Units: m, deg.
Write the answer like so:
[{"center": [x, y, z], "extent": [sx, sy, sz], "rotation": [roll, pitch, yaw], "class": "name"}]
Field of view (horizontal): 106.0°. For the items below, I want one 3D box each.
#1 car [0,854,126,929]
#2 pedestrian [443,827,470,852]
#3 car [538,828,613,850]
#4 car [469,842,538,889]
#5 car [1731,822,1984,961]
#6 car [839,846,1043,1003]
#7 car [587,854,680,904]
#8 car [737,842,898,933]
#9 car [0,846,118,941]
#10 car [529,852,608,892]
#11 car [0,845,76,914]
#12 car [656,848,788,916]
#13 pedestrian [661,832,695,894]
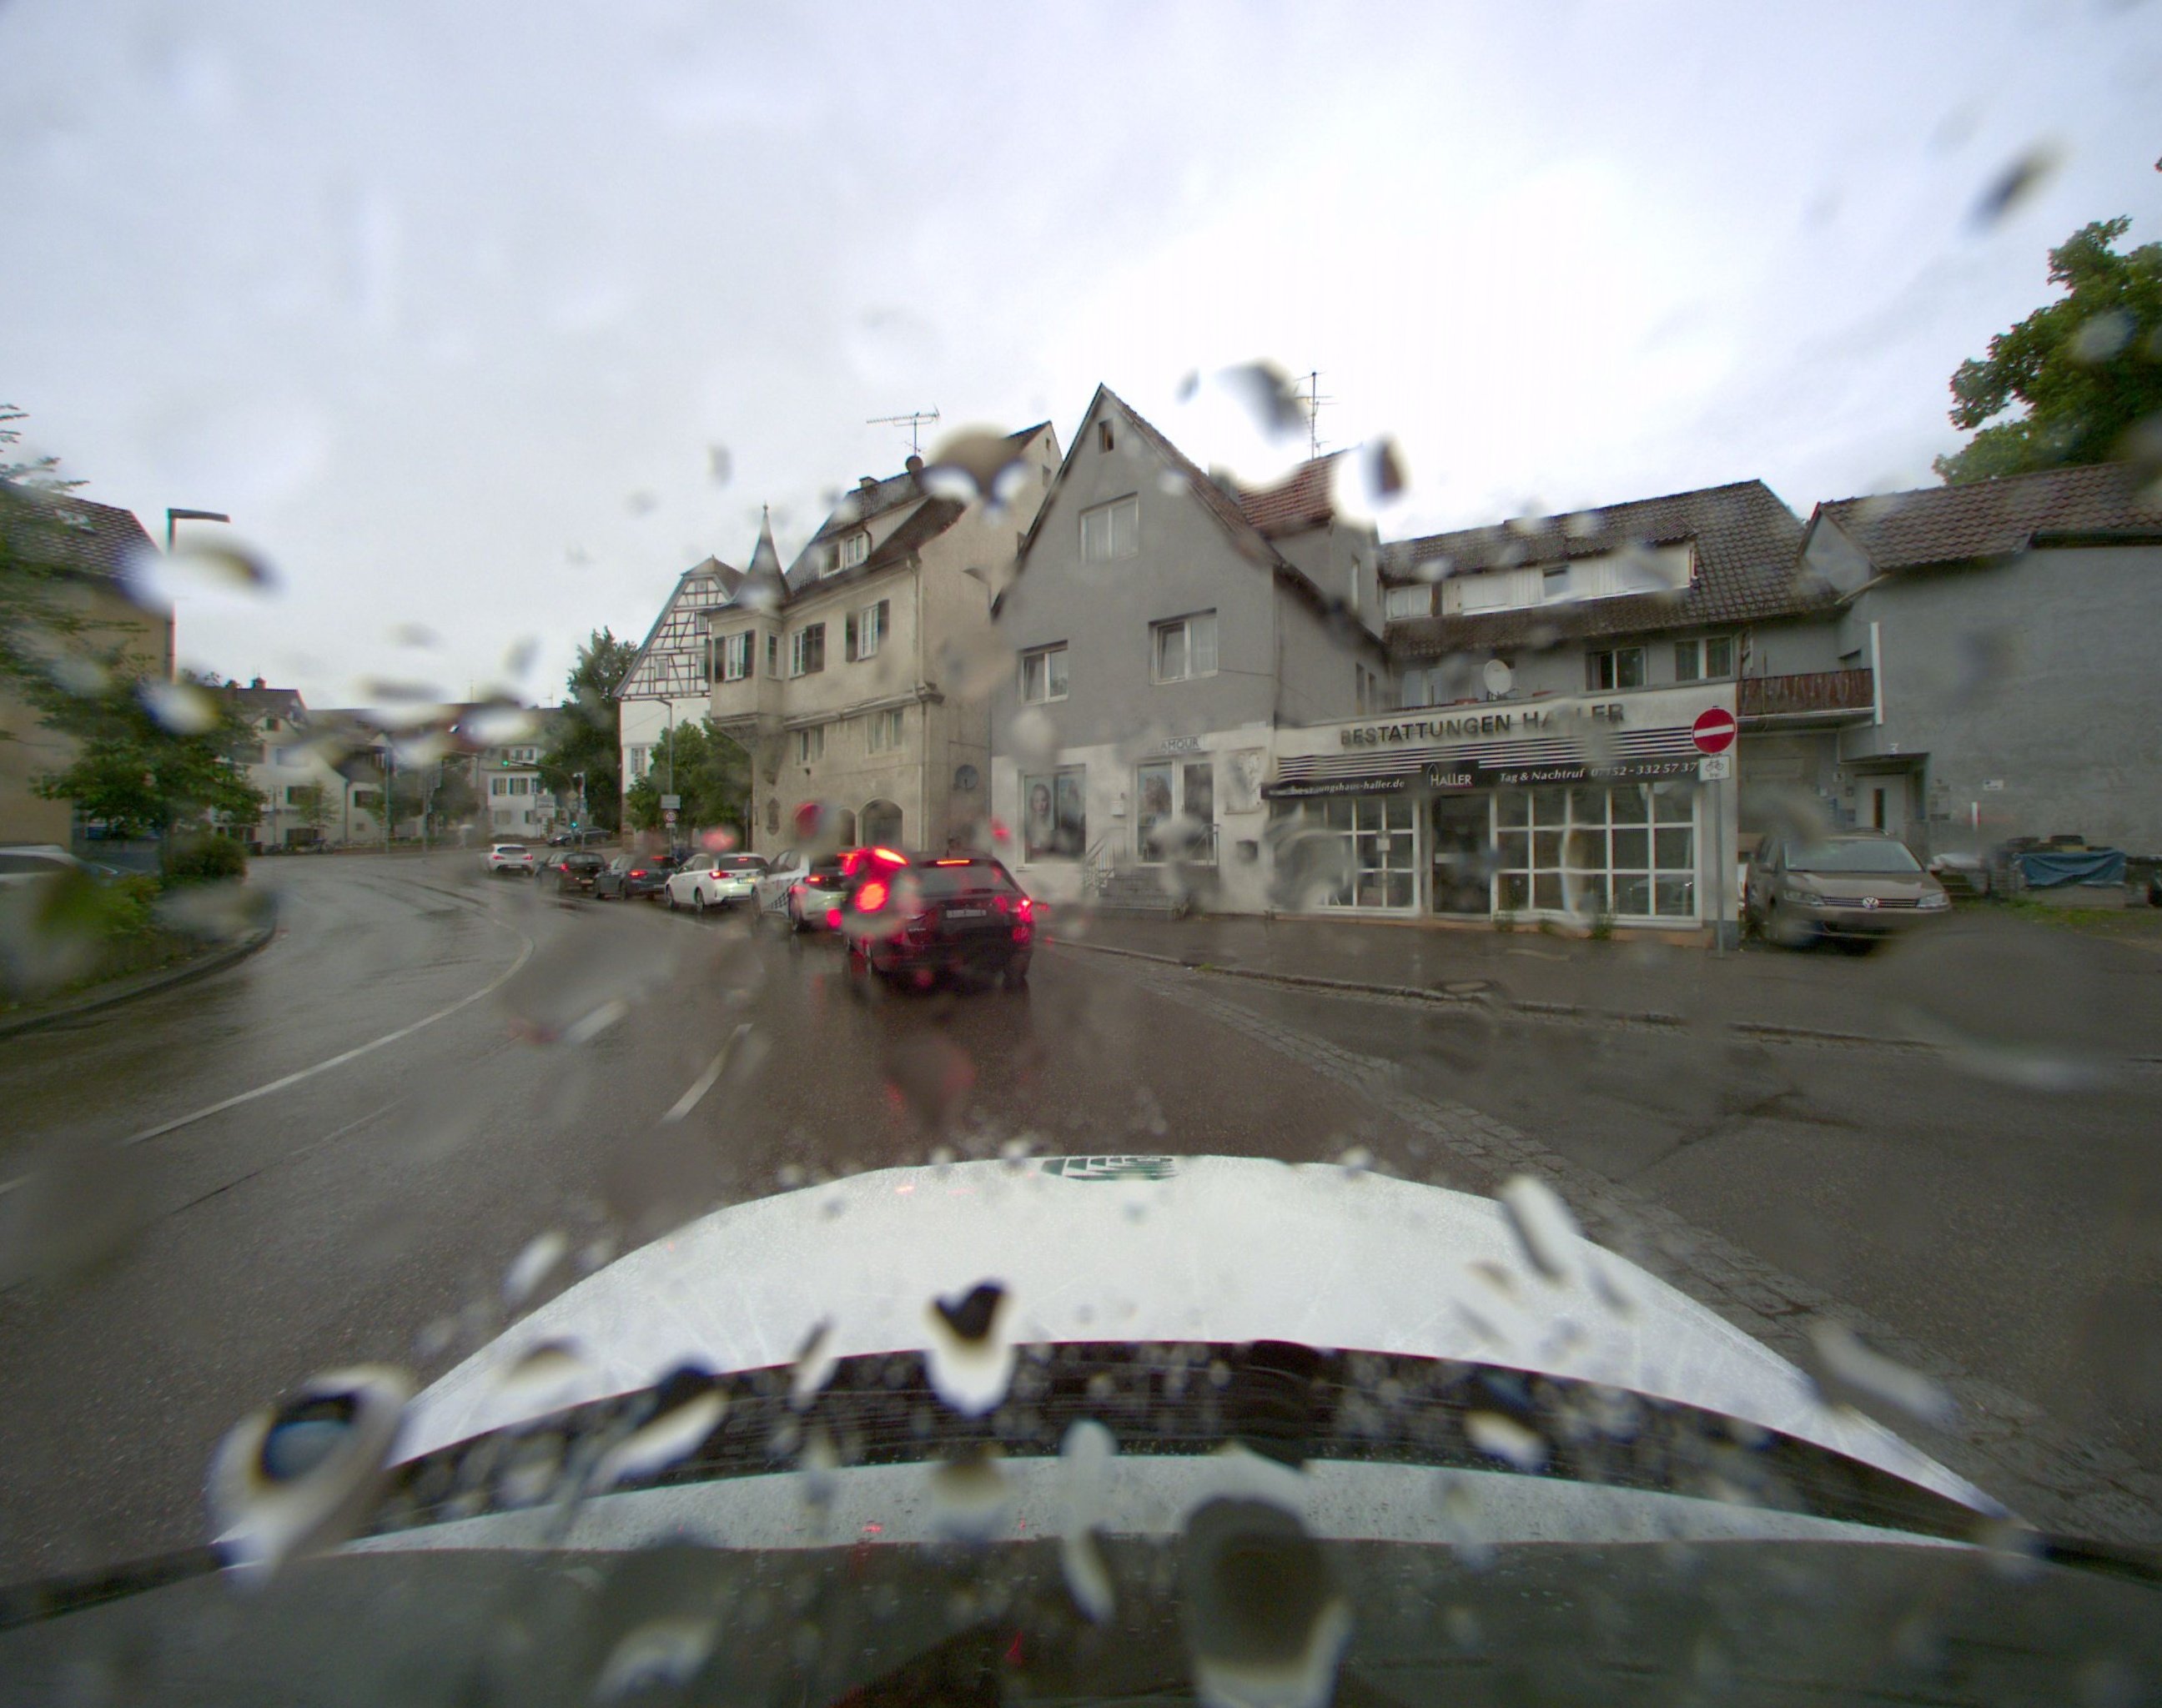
[{"center": [-22.409, 0.770, 16.522], "extent": [1.692, 1.455, 3.558], "rotation": [0, 1, 24], "class": "car"}, {"center": [-44.025, -1.014, 57.396], "extent": [0.992, 1.742, 1.156], "rotation": [-1, 0, 26], "class": "pedestrian"}, {"center": [-37.624, -1.089, 60.719], "extent": [1.632, 1.389, 4.555], "rotation": [7, 3, 23], "class": "car"}, {"center": [-28.047, 0.500, 39.516], "extent": [3.911, 2.090, 1.992], "rotation": [1, 2, 44], "class": "car"}, {"center": [11.709, 0.402, 12.690], "extent": [1.905, 1.727, 4.698], "rotation": [-1, 2, 32], "class": "car"}, {"center": [-1.958, 0.659, 10.169], "extent": [1.738, 1.450, 4.212], "rotation": [-2, 2, -21], "class": "car"}, {"center": [-14.151, 0.737, 25.674], "extent": [3.721, 1.361, 1.533], "rotation": [1, 2, 44], "class": "car"}, {"center": [-5.353, 0.577, 16.169], "extent": [1.803, 1.517, 4.194], "rotation": [-2, 1, -36], "class": "car"}, {"center": [-20.144, 0.719, 14.457], "extent": [1.692, 1.685, 3.558], "rotation": [0, 1, 24], "class": "car"}, {"center": [-19.080, 0.629, 30.281], "extent": [3.579, 1.312, 1.678], "rotation": [1, 2, 44], "class": "car"}, {"center": [-26.215, 0.613, 18.726], "extent": [1.692, 1.576, 3.558], "rotation": [0, 1, 24], "class": "car"}, {"center": [-9.136, 0.624, 20.583], "extent": [1.801, 1.465, 4.114], "rotation": [-3, 2, -42], "class": "car"}, {"center": [-15.294, 0.332, 30.927], "extent": [0.872, 2.326, 1.216], "rotation": [-1, 0, -40], "class": "pedestrian"}]
